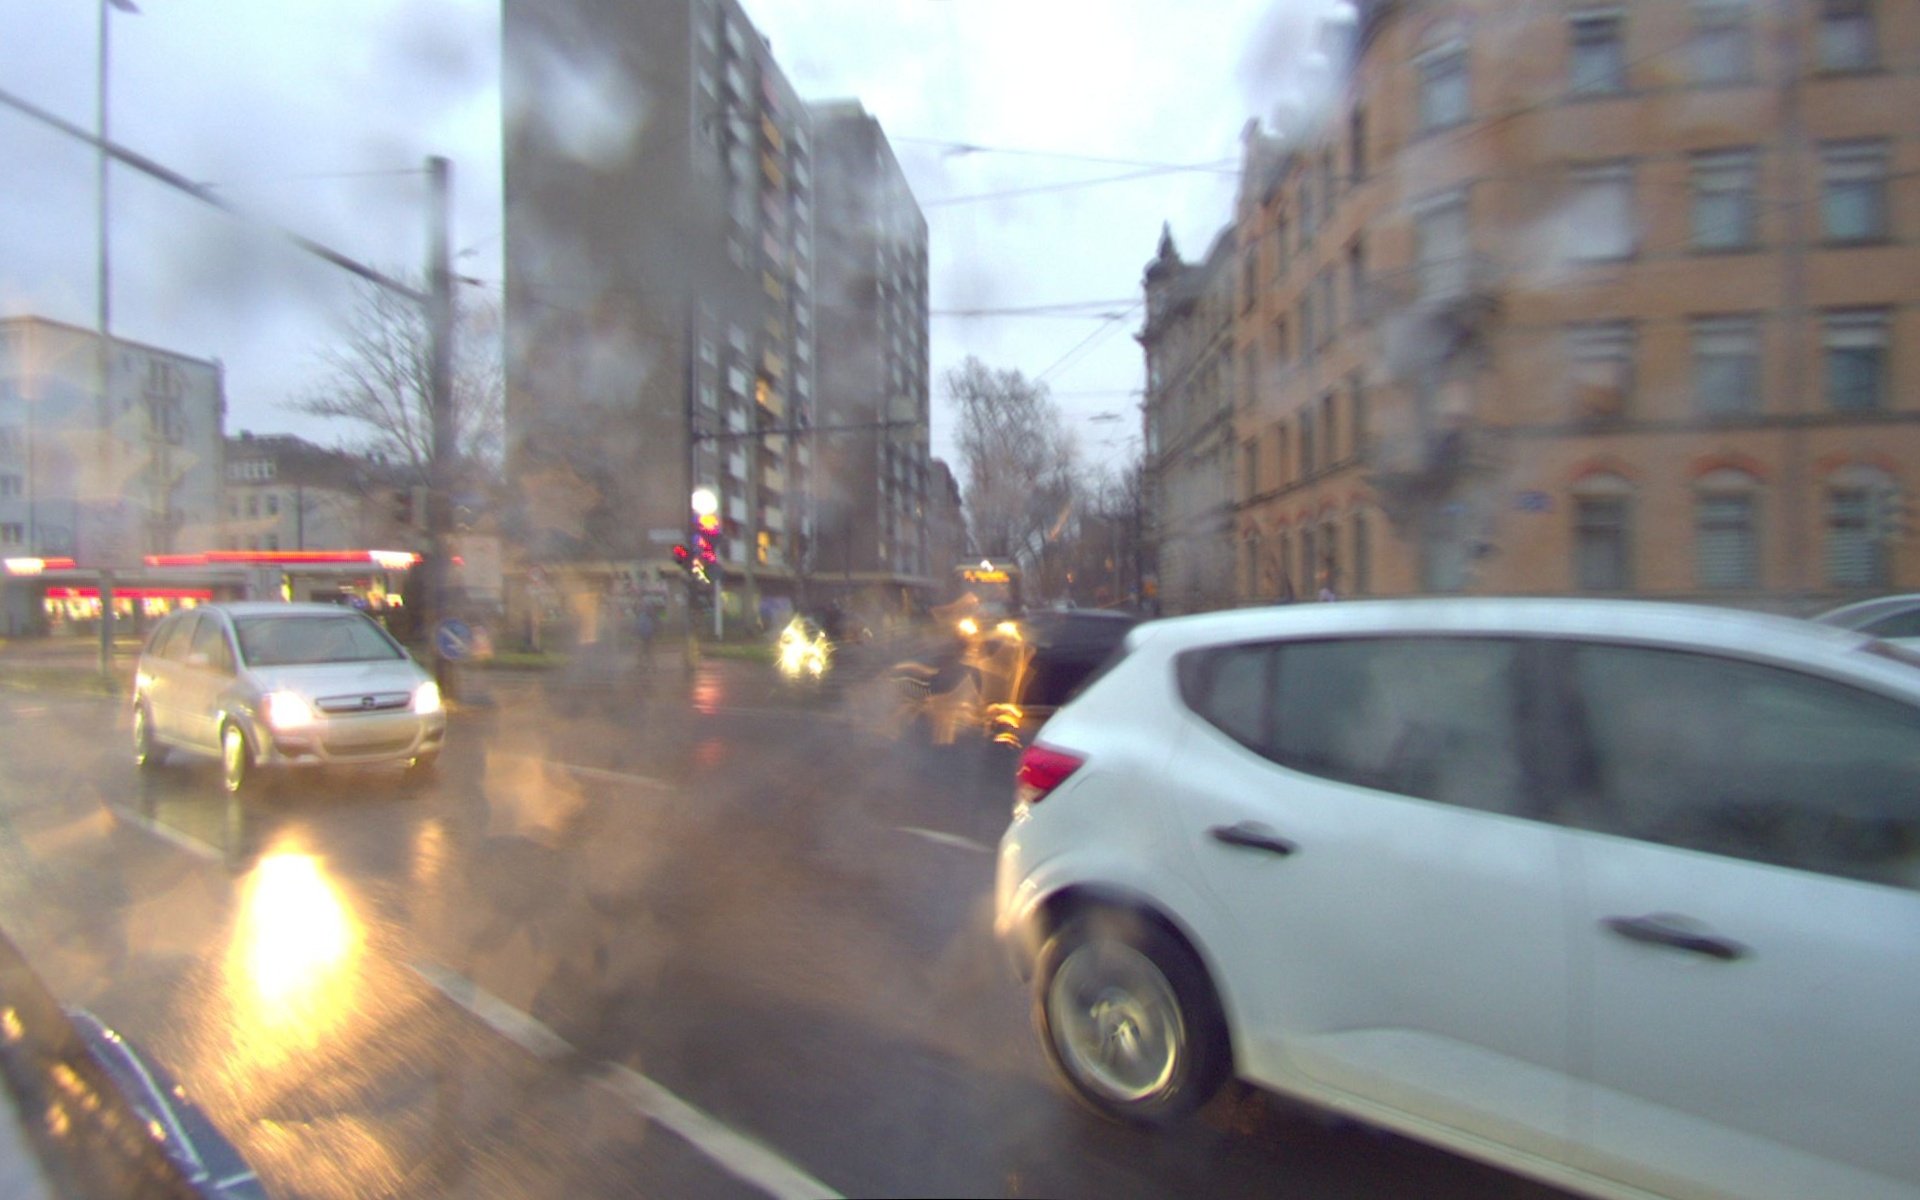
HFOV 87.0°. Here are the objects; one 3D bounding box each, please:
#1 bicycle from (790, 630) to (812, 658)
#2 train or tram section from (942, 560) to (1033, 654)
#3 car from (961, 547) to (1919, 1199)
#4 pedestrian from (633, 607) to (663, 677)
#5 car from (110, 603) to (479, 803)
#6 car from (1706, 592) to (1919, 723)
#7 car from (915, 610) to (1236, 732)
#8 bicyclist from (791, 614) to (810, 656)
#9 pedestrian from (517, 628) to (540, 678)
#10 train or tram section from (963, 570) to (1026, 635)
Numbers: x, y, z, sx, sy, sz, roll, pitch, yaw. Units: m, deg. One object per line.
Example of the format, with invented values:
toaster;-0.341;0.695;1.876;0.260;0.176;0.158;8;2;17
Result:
bicycle;-5.464;1.498;34.700;0.498;0.907;1.990;-1;0;-15
train or tram section;1.351;0.186;43.346;3.127;3.212;16.294;-1;0;3
car;2.040;0.666;2.456;3.998;1.498;1.609;-2;-2;41
pedestrian;-8.121;1.083;26.333;0.627;1.785;0.463;-1;-1;34
car;-6.553;0.845;9.820;4.100;1.560;1.631;-1;-1;35
car;11.935;0.678;12.433;4.209;1.537;1.669;-1;-1;29
car;1.543;0.896;13.814;4.041;1.468;1.670;-1;-1;27
bicyclist;-5.469;1.194;34.698;0.498;1.401;0.972;-1;0;-15
pedestrian;-15.963;1.958;37.451;0.525;1.806;0.628;-1;0;0
train or tram section;2.024;0.096;57.041;3.127;3.262;11.141;-1;0;3
